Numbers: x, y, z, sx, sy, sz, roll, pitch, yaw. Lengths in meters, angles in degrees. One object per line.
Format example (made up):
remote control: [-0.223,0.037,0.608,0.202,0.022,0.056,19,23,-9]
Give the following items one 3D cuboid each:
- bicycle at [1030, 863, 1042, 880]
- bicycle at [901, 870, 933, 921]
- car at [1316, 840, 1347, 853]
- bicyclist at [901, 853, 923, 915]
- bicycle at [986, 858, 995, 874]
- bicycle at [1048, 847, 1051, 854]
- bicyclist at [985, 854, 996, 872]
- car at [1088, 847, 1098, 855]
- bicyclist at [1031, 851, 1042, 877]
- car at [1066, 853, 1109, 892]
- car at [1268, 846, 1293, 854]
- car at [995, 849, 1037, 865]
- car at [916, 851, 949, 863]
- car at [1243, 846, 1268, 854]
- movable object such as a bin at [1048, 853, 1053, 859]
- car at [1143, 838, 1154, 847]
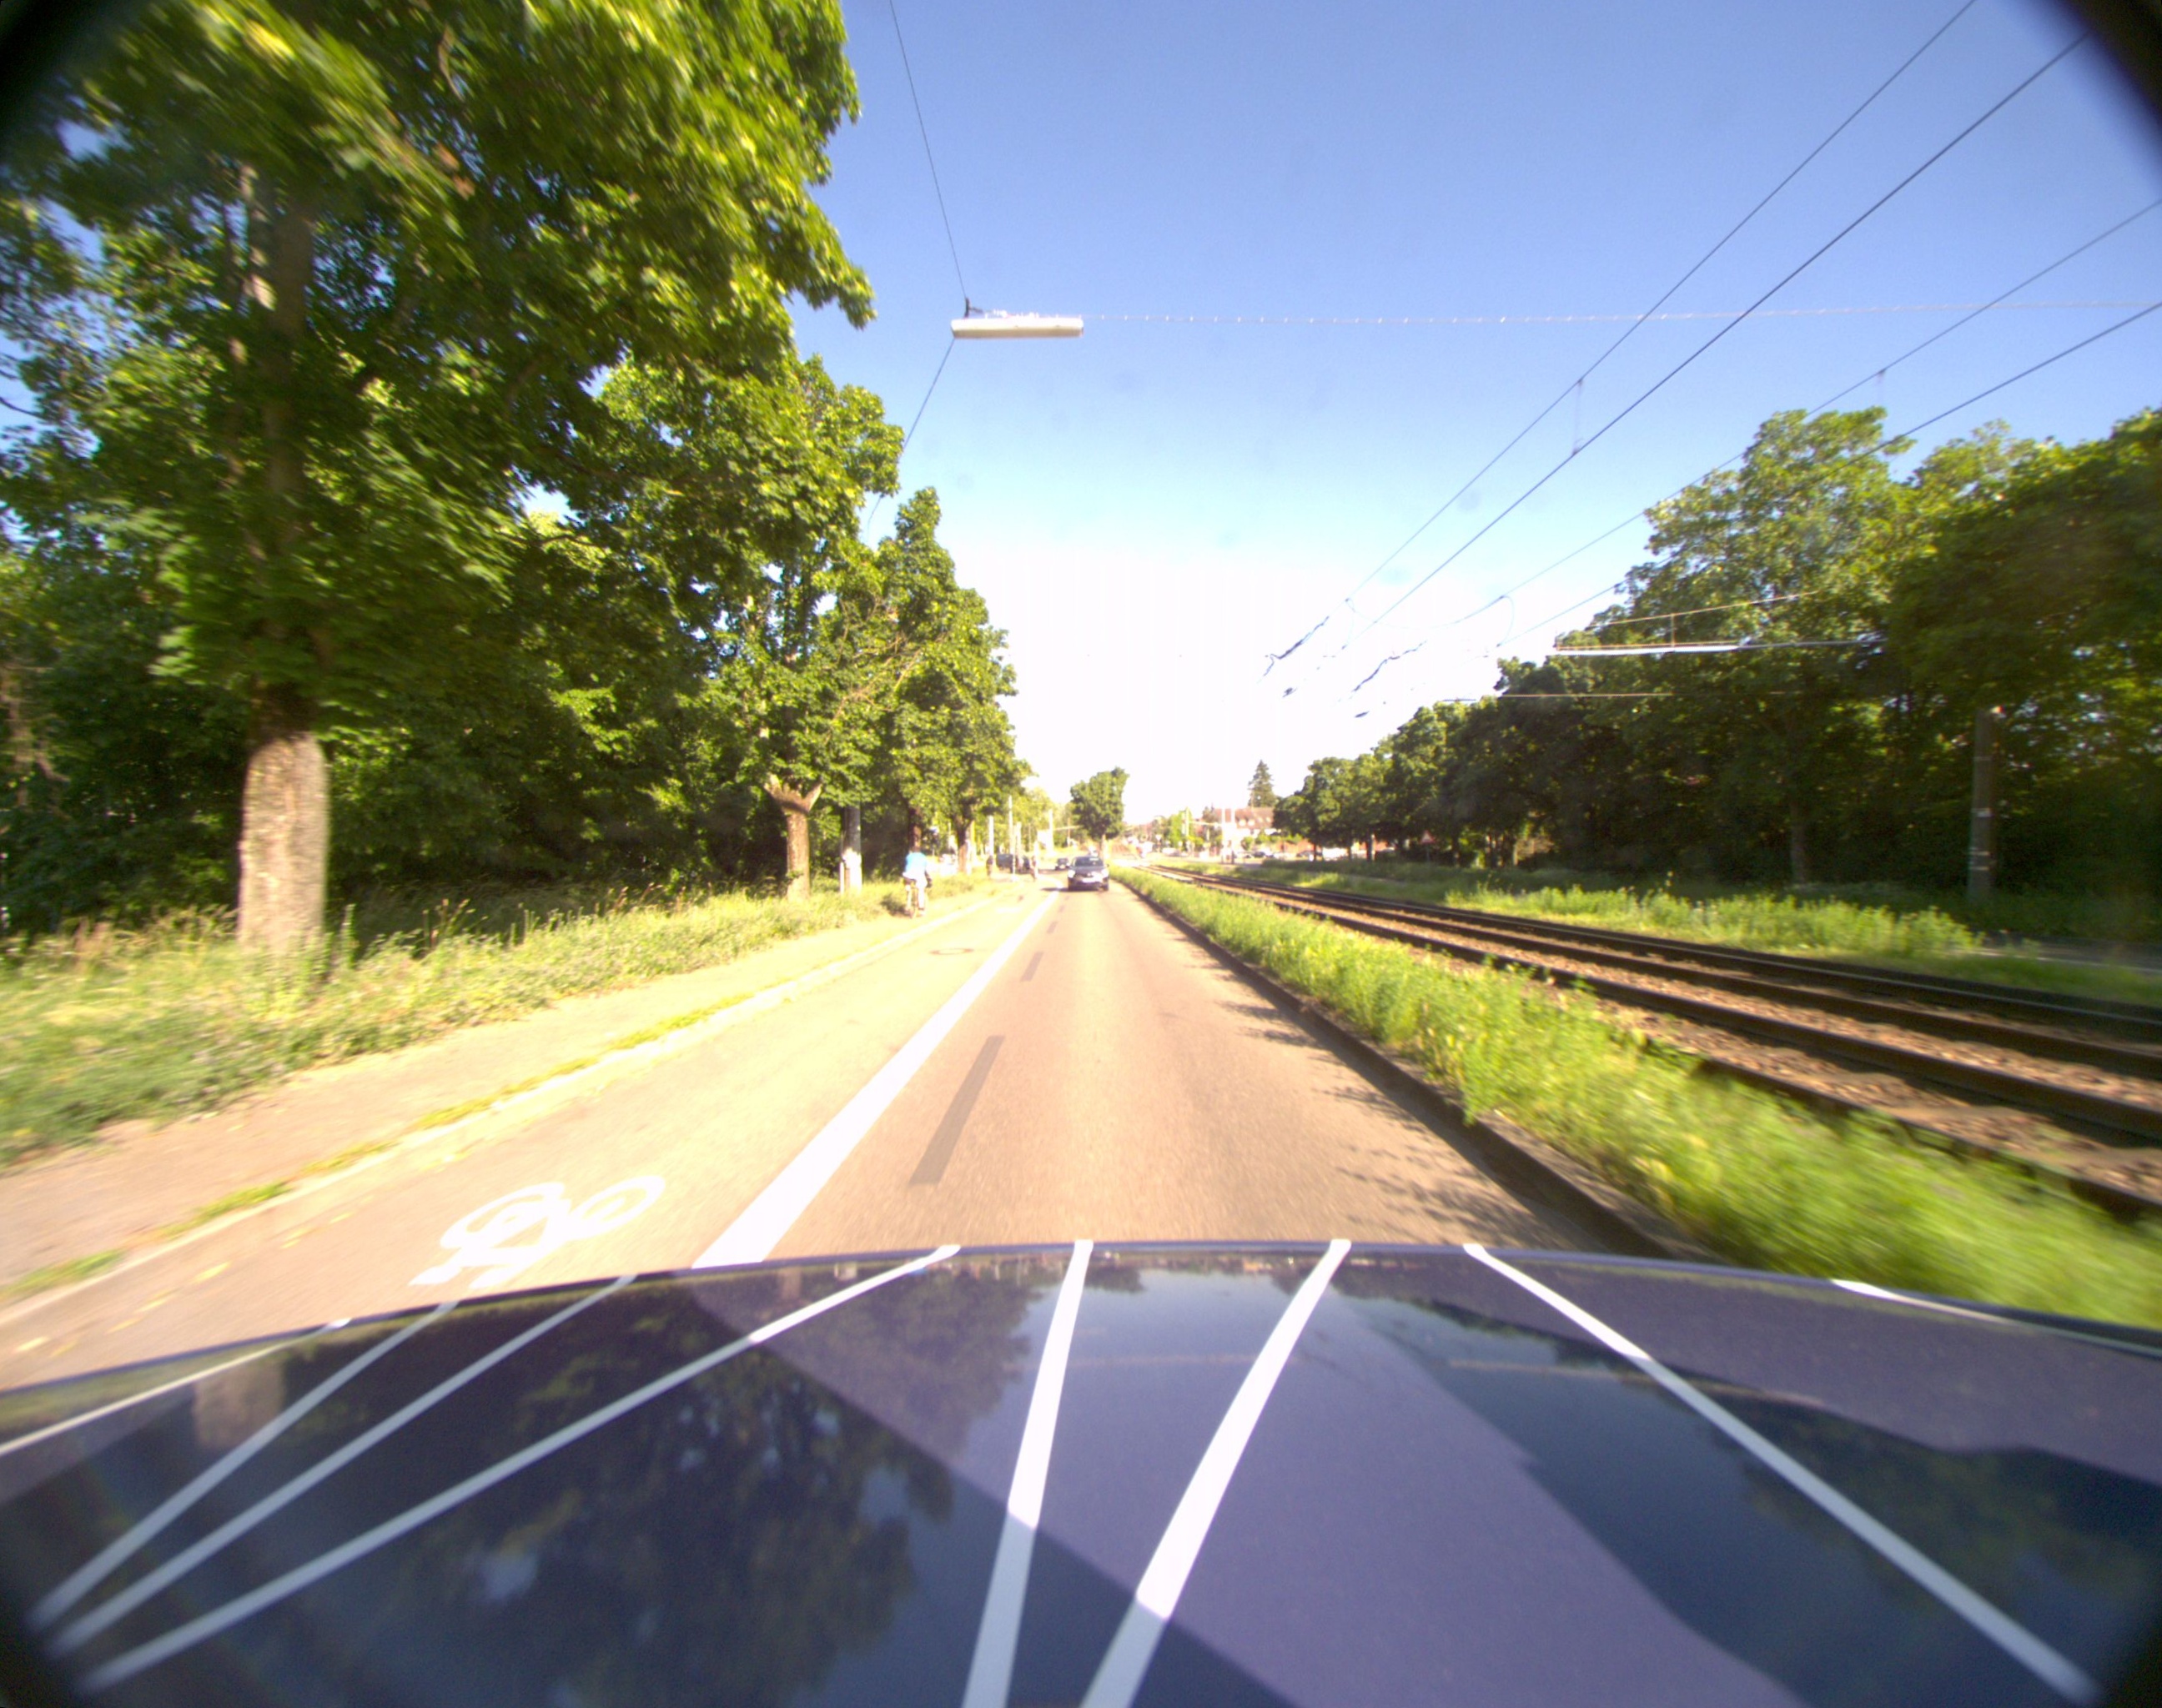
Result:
bicycle: [-2.855,1.095,48.076,0.525,0.918,2.089,0,2,3]
bicycle: [-4.048,0.997,18.804,0.419,1.181,1.721,0,0,0]
car: [50.029,-1.511,151.600,5.928,2.397,2.176,-1,2,-23]
bicyclist: [-4.119,0.716,18.529,0.406,1.498,0.574,0,1,0]
bicycle: [-6.855,0.892,57.909,0.620,1.183,2.504,0,0,-5]
bicycle: [-5.875,-0.652,140.596,0.468,1.112,1.819,-1,1,-3]
bicyclist: [-6.863,0.703,57.650,0.758,1.360,0.806,0,0,-5]
car: [2.457,-0.561,156.180,1.881,1.519,4.420,0,2,2]
bicyclist: [-2.844,0.631,48.394,0.616,1.670,0.933,0,1,2]
car: [0.309,0.781,34.422,1.839,1.542,3.815,0,2,1]
car: [38.580,-0.829,146.990,4.264,1.458,1.934,-1,1,-25]
car: [-8.391,0.346,98.075,5.105,2.059,2.135,0,2,35]
car: [-22.449,0.493,114.976,4.500,1.702,1.916,-1,2,-25]
car: [33.348,-0.772,145.031,4.254,1.458,1.934,-1,2,-25]
movable object such as a bin: [-5.638,0.439,138.990,0.911,1.062,1.316,-1,2,-4]
car: [18.424,-3.100,208.619,2.347,2.444,6.868,0,1,-1]
